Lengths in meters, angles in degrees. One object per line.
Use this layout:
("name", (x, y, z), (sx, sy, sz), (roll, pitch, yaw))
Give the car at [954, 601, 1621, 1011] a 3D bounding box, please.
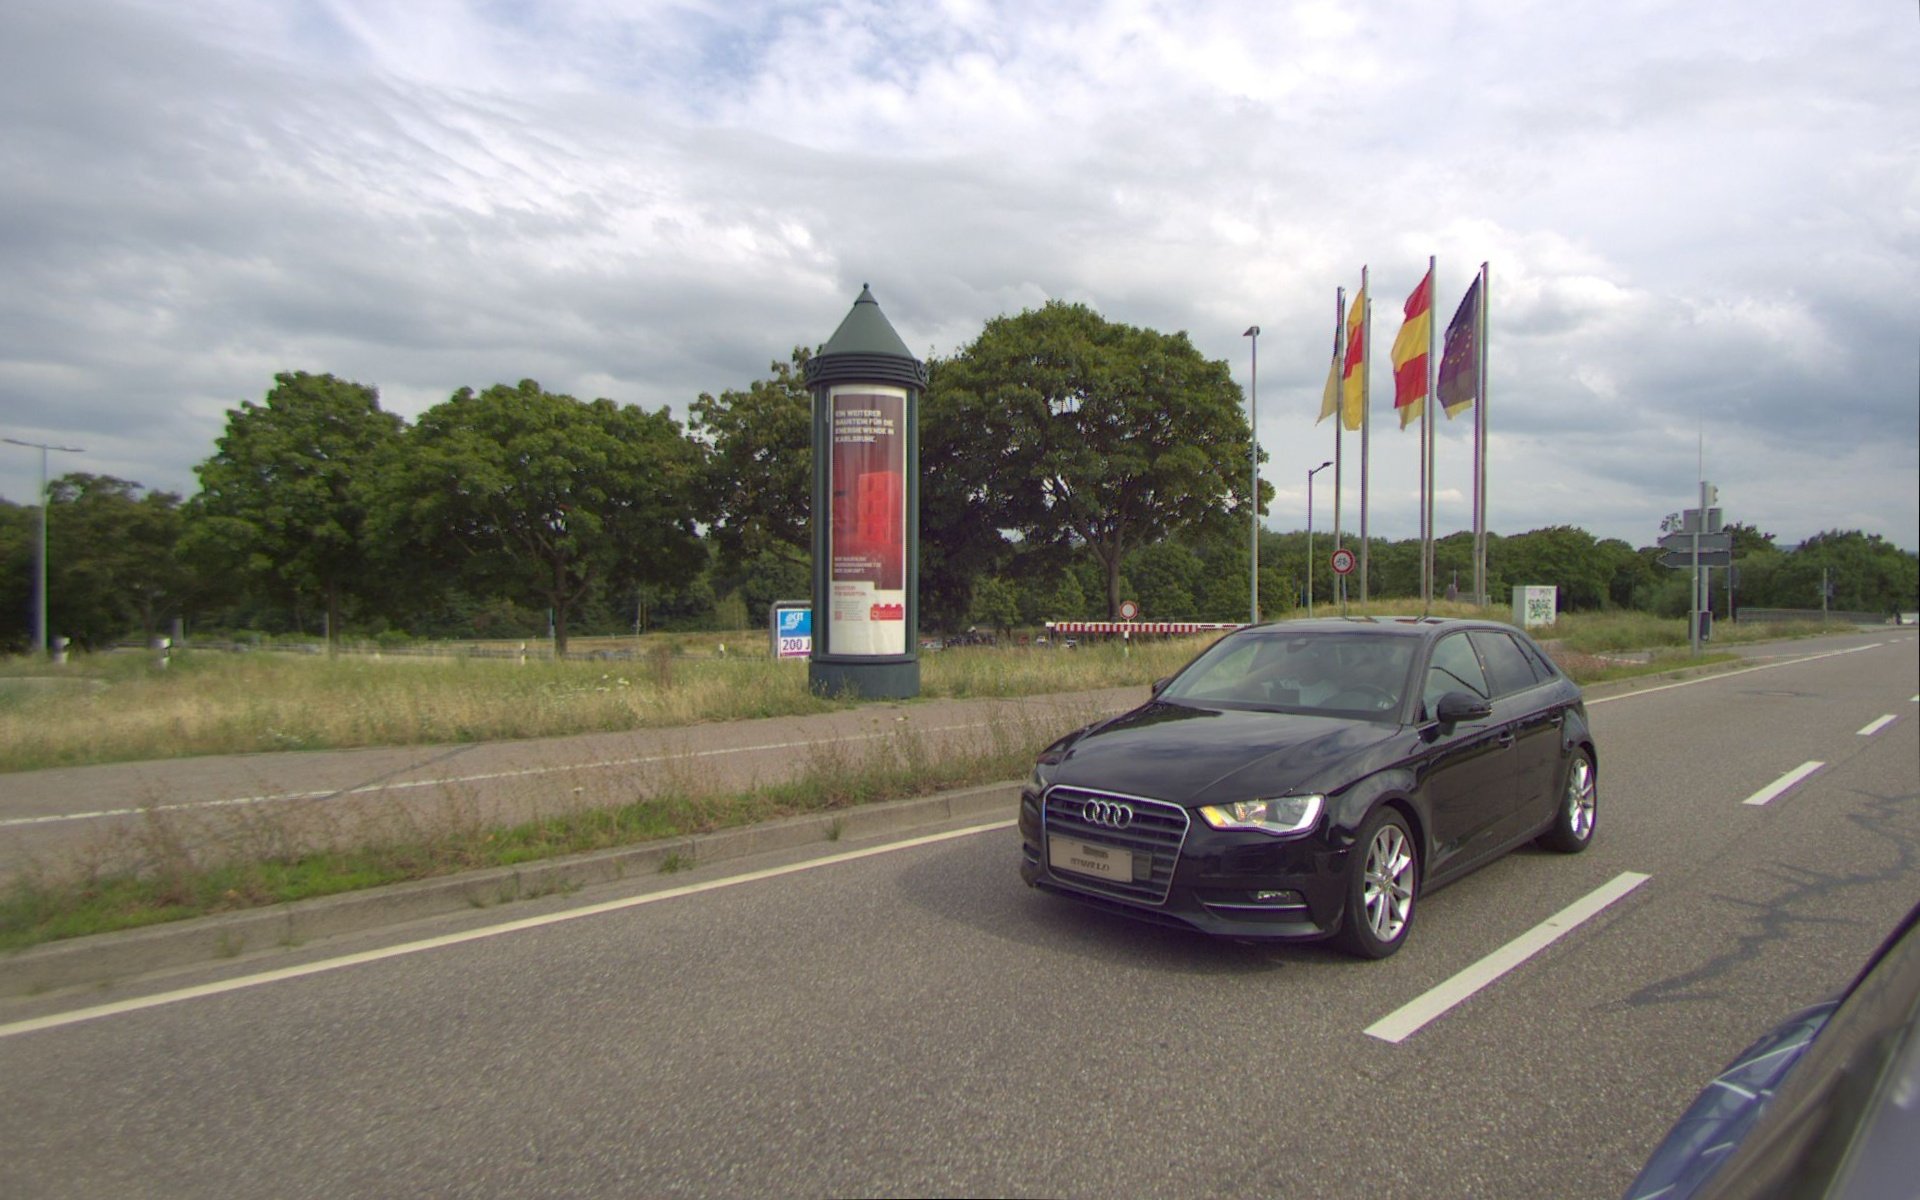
("car", (2.032, 0.737, 5.527), (4.045, 1.413, 1.732), (1, -1, -43))
